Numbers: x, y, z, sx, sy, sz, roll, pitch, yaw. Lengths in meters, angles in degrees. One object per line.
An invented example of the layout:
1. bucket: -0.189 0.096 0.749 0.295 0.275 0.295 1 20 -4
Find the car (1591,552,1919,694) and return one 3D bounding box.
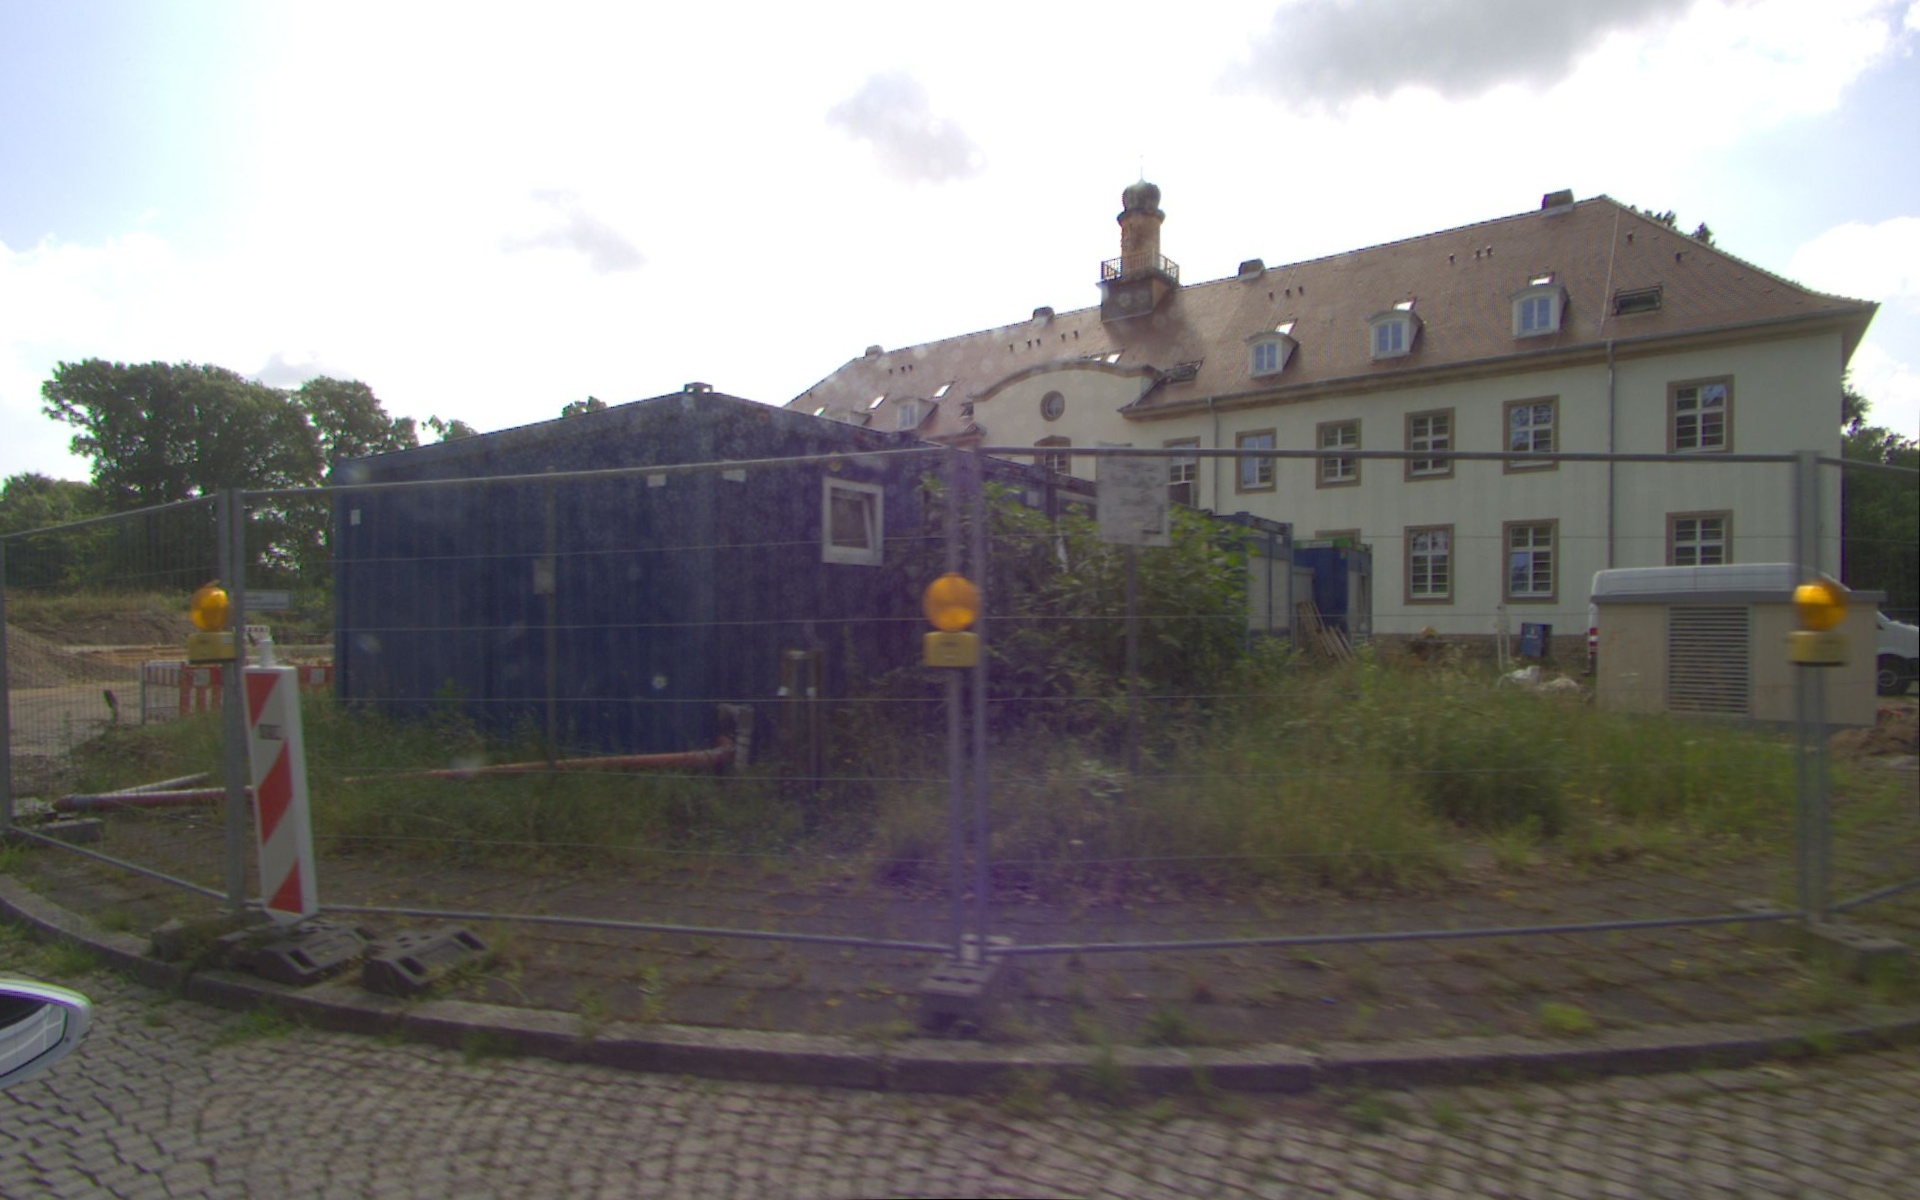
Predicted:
1. car: 16.401 0.484 20.409 5.838 2.588 1.986 -1 -2 39
